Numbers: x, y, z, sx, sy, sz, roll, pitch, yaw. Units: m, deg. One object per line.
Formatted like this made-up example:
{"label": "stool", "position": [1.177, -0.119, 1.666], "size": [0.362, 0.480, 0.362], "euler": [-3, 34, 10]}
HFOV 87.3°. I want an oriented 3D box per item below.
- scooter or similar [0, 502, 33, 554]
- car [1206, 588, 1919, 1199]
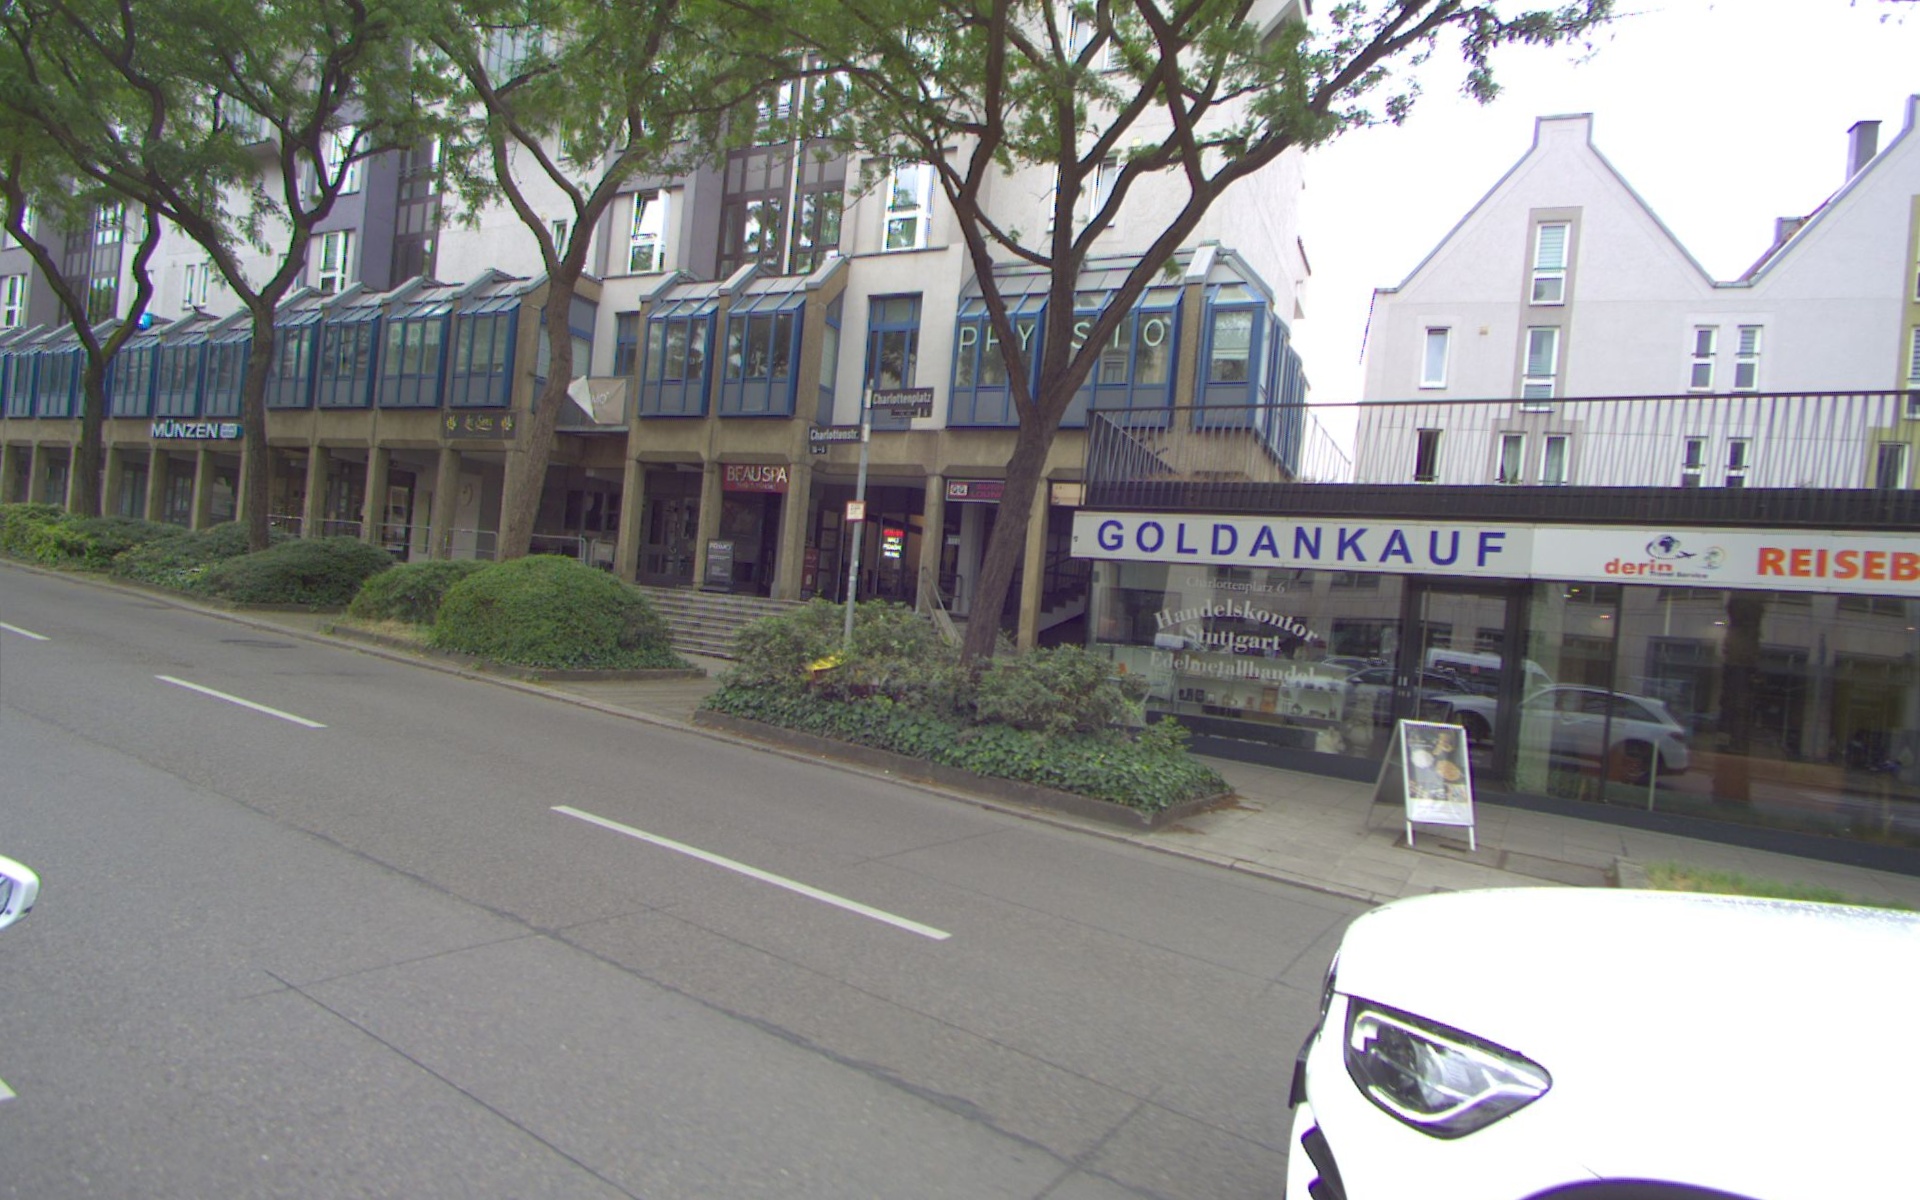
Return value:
{"label": "scooter or similar", "position": [-23.574, -1.794, 24.702], "size": [0.421, 1.197, 1.105], "euler": [8, 2, 42]}
{"label": "car", "position": [2.744, 1.046, 1.482], "size": [4.262, 1.668, 1.803], "euler": [6, 1, 32]}
